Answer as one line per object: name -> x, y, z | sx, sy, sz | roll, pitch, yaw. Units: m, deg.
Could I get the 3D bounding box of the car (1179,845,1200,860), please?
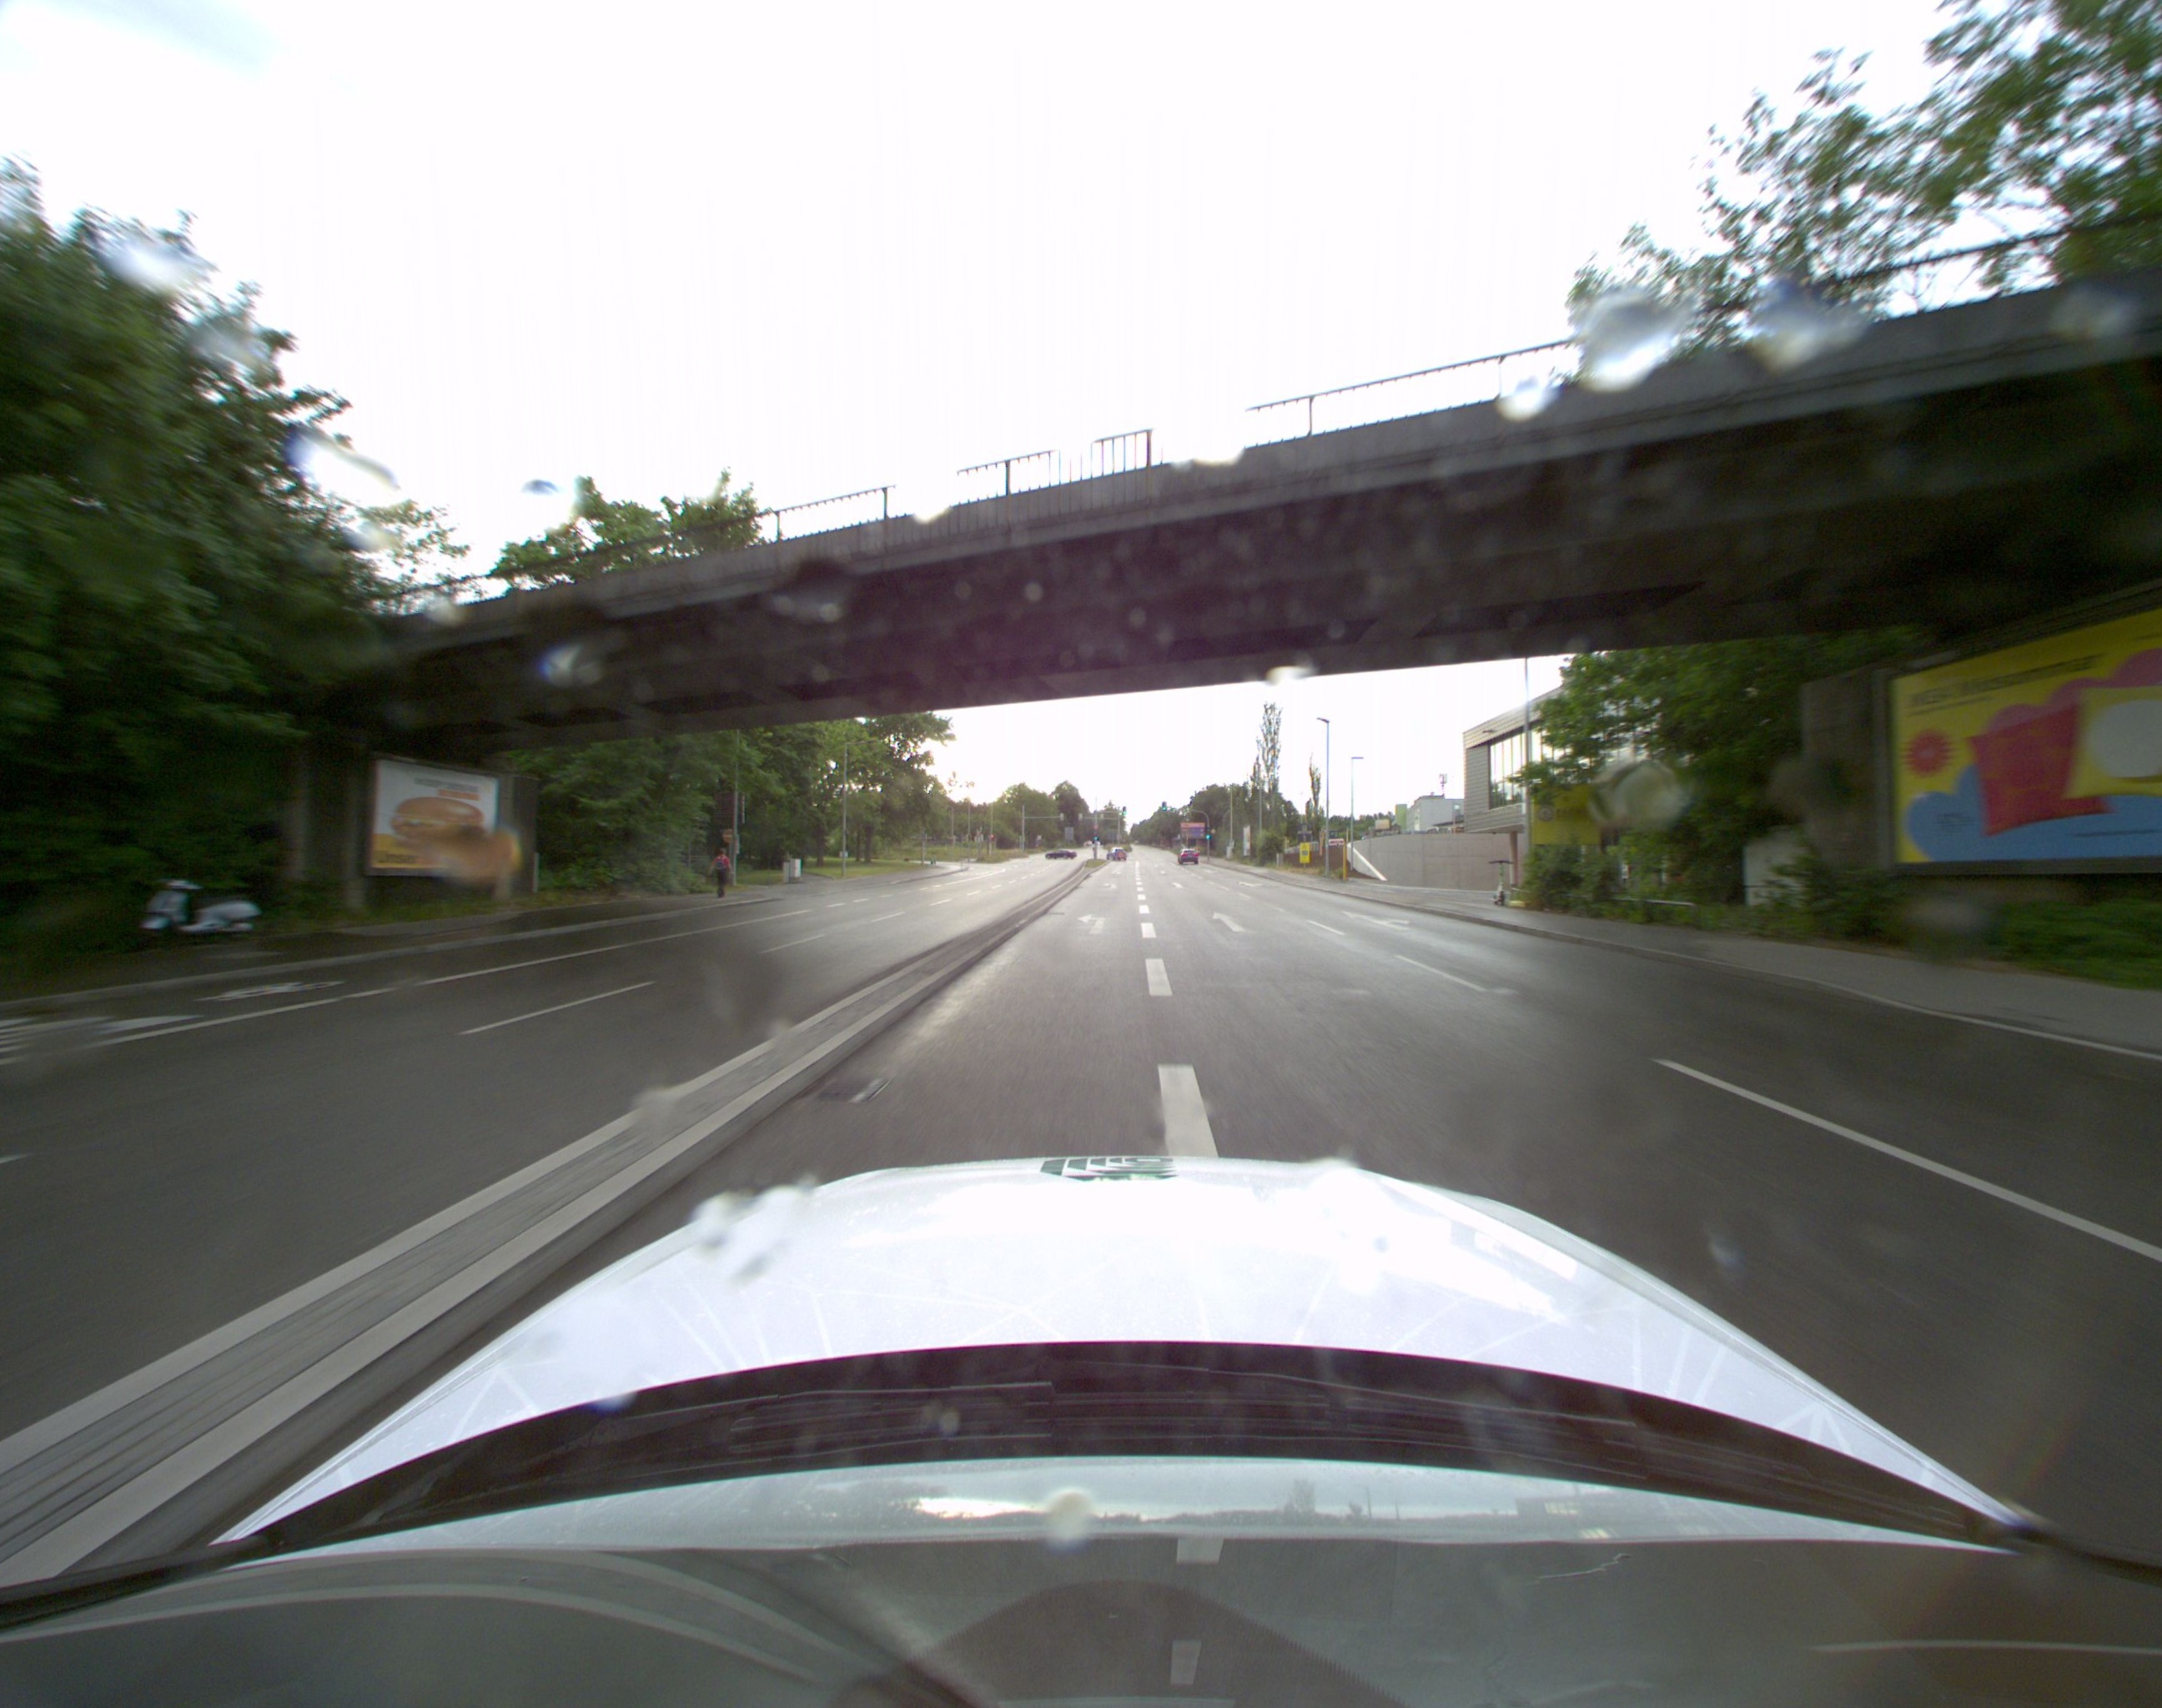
car -> 10.721, -0.156, 80.390 | 1.737, 1.470, 4.170 | 0, 1, 3

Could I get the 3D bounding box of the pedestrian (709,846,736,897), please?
pedestrian -> -12.954, 0.617, 29.432 | 0.516, 1.816, 0.802 | 0, 0, 14

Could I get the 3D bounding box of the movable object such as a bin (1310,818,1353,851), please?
movable object such as a bin -> 24.977, -1.933, 81.508 | 2.297, 3.276, 5.417 | 0, 1, -4

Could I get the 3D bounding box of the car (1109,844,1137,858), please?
car -> 5.200, -0.335, 100.863 | 2.083, 1.718, 4.171 | 2, -1, -19

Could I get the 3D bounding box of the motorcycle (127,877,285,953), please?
motorcycle -> -15.051, 1.017, 14.088 | 0.466, 1.158, 1.936 | -1, 0, 7

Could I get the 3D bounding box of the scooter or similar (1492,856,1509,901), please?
scooter or similar -> 11.028, 0.625, 21.422 | 0.253, 1.129, 1.286 | 0, 0, 20

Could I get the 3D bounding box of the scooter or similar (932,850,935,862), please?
scooter or similar -> -15.073, 0.179, 83.244 | 0.311, 1.218, 1.303 | 0, 1, -10

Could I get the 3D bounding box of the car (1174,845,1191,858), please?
car -> 11.428, -0.299, 91.935 | 1.736, 1.470, 4.172 | 0, 1, 5

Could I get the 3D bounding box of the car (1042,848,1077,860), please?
car -> -2.894, -0.004, 110.451 | 4.637, 1.583, 2.171 | 2, -1, -2
